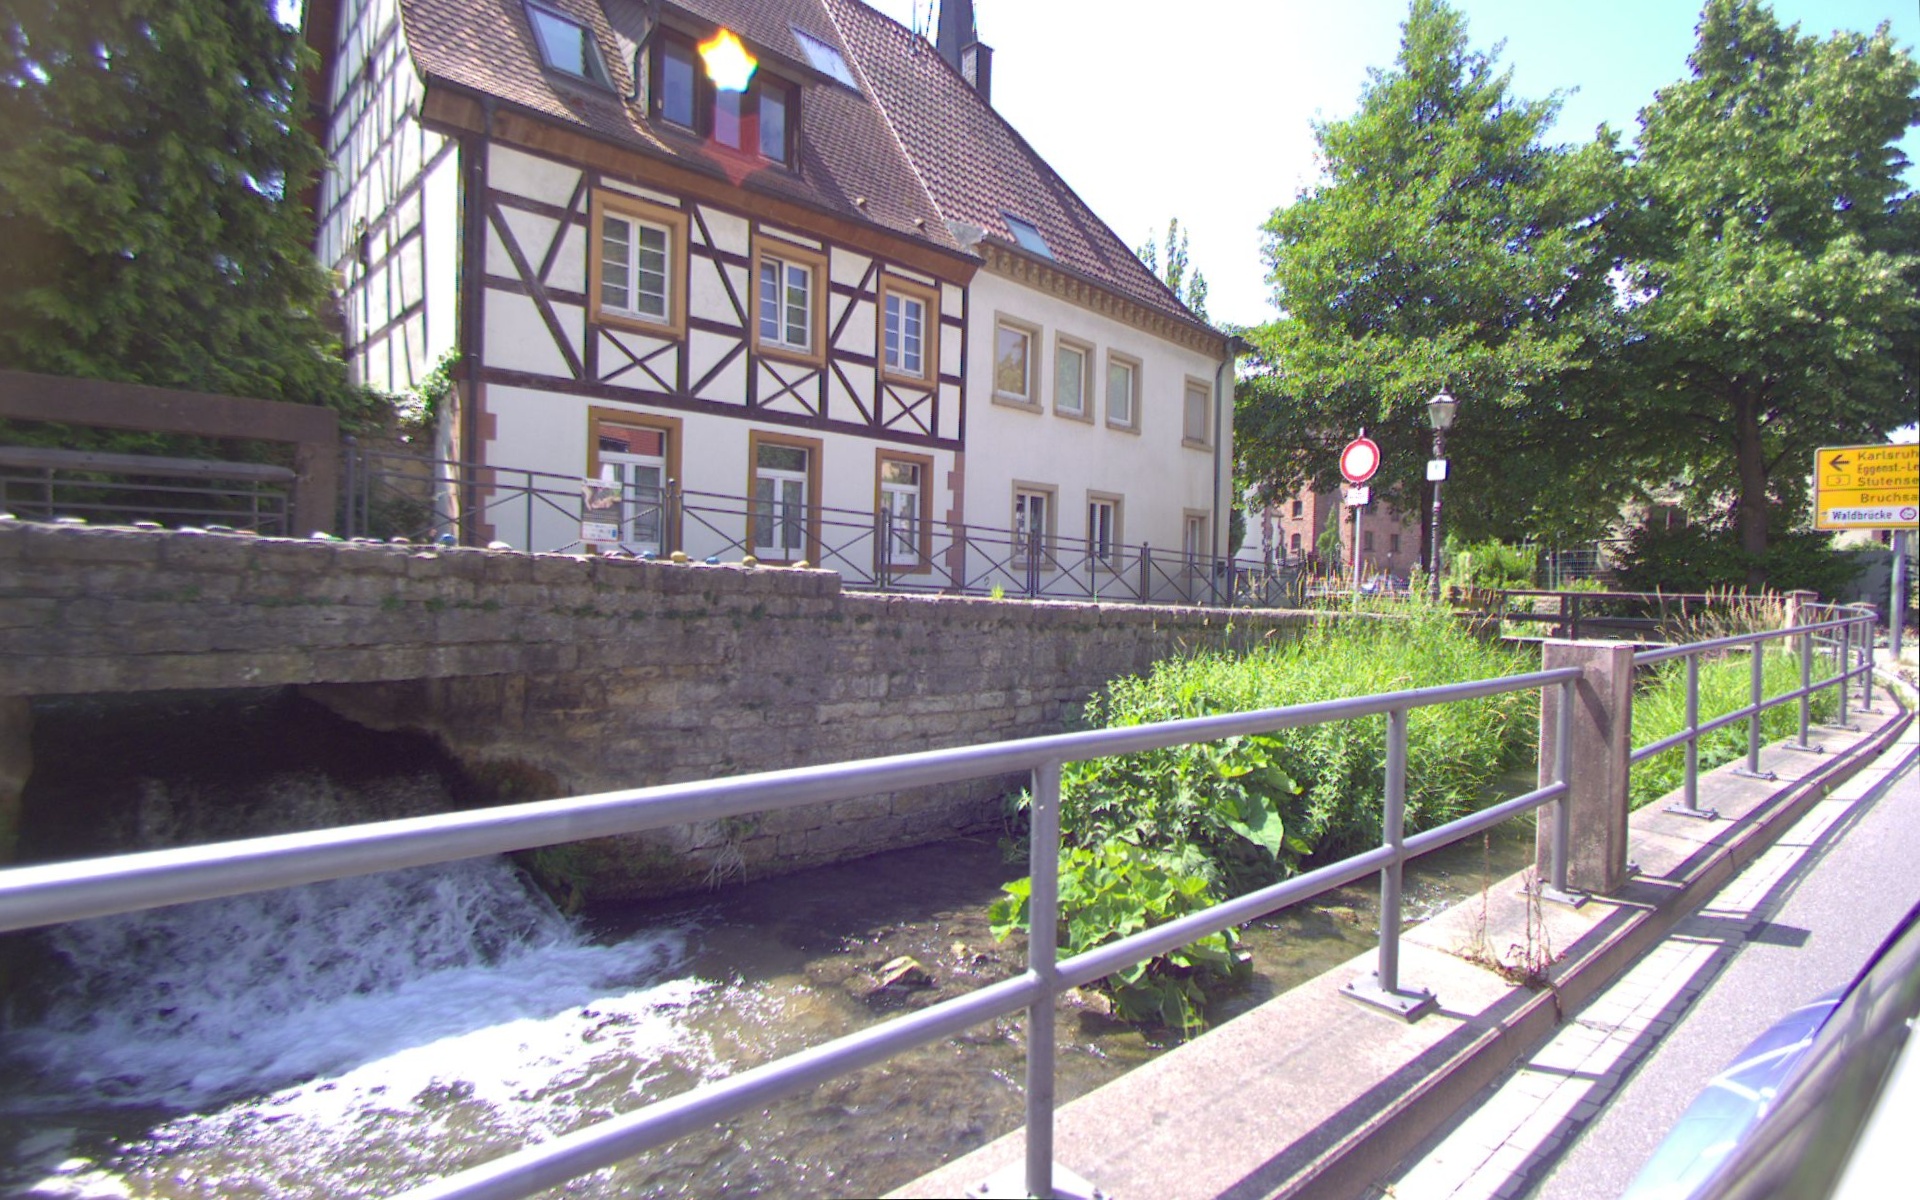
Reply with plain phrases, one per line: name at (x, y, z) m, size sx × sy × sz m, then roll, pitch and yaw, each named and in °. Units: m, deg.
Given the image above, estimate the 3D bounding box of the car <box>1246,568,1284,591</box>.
car at (20.987, -1.423, 69.519) m, size 1.657 × 1.523 × 3.770 m, roll 1°, pitch 2°, yaw 30°
